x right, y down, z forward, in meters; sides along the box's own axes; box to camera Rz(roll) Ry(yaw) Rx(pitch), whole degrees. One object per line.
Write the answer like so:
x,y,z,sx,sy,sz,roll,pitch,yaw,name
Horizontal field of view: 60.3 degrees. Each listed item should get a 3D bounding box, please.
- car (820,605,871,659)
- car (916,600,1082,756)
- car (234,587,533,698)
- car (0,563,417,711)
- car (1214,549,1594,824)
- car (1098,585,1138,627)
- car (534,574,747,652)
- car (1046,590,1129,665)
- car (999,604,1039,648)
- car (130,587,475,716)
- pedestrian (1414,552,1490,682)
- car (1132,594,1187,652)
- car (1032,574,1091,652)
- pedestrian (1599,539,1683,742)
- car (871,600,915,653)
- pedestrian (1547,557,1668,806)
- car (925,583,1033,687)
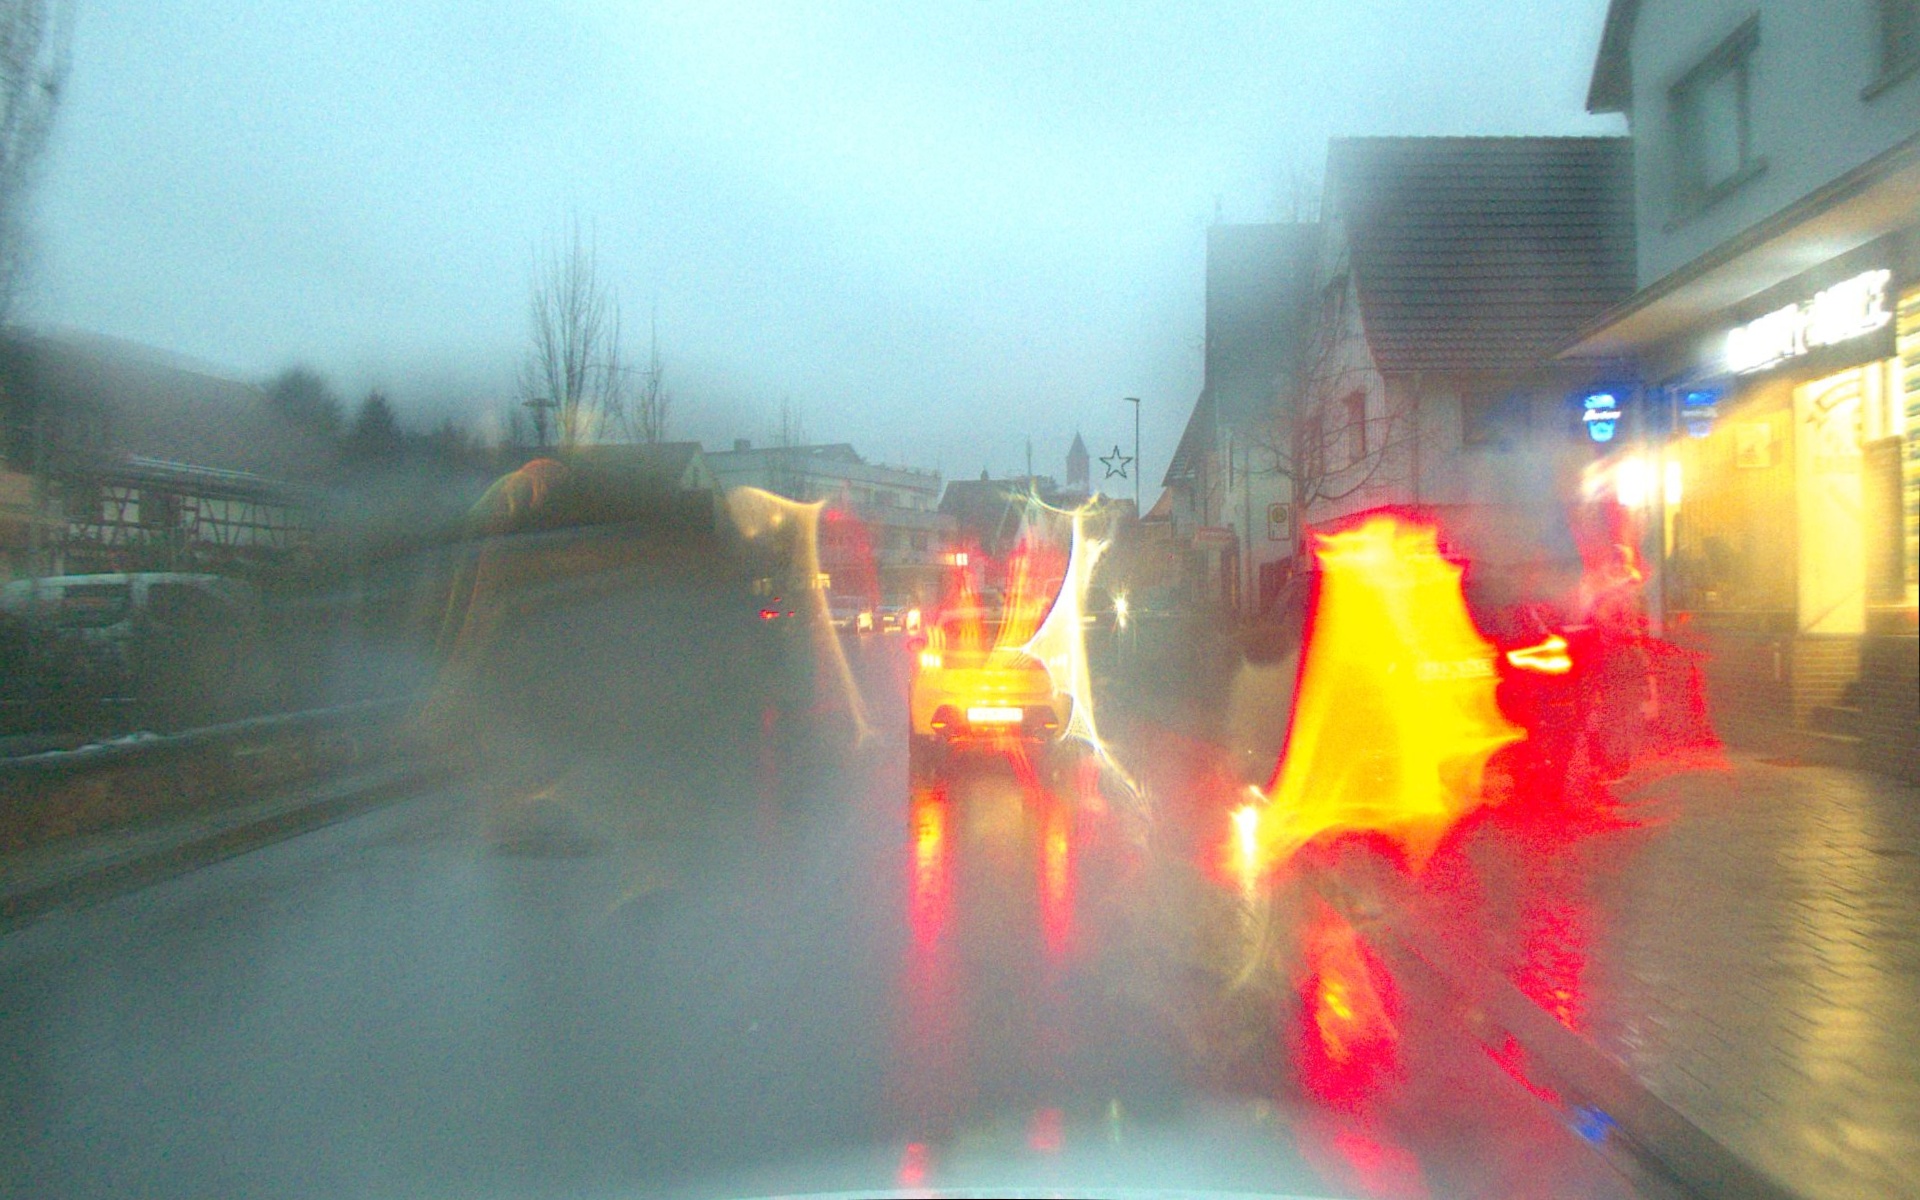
-4.635,1.333,67.465,1.881,2.063,3.973,1,-2,-1,car
0.378,0.734,17.054,1.531,1.437,3.018,1,0,0,car
-8.988,0.648,25.955,4.079,1.673,1.659,0,-1,5,car
-9.258,0.449,20.270,4.532,1.697,1.999,0,-1,-2,car
3.141,0.558,12.640,1.700,1.722,4.385,-1,0,0,car
7.871,0.338,82.085,1.830,1.867,4.446,1,-2,7,car
-8.447,0.329,43.802,5.281,1.849,1.713,2,-1,14,car
3.390,0.734,44.553,1.956,1.897,4.083,0,-1,1,car
3.033,1.375,85.596,1.952,2.149,4.000,1,-2,1,car
-9.082,0.688,23.029,4.109,1.681,1.680,1,-1,5,car
5.967,0.194,20.092,0.607,1.542,0.732,0,1,-13,pedestrian
8.343,1.012,69.436,1.952,2.288,4.000,1,-2,2,car
3.462,0.504,57.004,1.831,2.512,4.444,1,-2,2,car
6.012,0.357,14.618,0.605,1.757,0.502,1,-3,12,pedestrian
-3.042,1.236,75.364,1.881,2.254,3.973,1,-2,-1,car
4.658,0.575,11.929,0.561,1.729,0.653,-2,-1,2,pedestrian
0.380,0.575,28.925,1.730,1.657,3.587,1,0,2,car
